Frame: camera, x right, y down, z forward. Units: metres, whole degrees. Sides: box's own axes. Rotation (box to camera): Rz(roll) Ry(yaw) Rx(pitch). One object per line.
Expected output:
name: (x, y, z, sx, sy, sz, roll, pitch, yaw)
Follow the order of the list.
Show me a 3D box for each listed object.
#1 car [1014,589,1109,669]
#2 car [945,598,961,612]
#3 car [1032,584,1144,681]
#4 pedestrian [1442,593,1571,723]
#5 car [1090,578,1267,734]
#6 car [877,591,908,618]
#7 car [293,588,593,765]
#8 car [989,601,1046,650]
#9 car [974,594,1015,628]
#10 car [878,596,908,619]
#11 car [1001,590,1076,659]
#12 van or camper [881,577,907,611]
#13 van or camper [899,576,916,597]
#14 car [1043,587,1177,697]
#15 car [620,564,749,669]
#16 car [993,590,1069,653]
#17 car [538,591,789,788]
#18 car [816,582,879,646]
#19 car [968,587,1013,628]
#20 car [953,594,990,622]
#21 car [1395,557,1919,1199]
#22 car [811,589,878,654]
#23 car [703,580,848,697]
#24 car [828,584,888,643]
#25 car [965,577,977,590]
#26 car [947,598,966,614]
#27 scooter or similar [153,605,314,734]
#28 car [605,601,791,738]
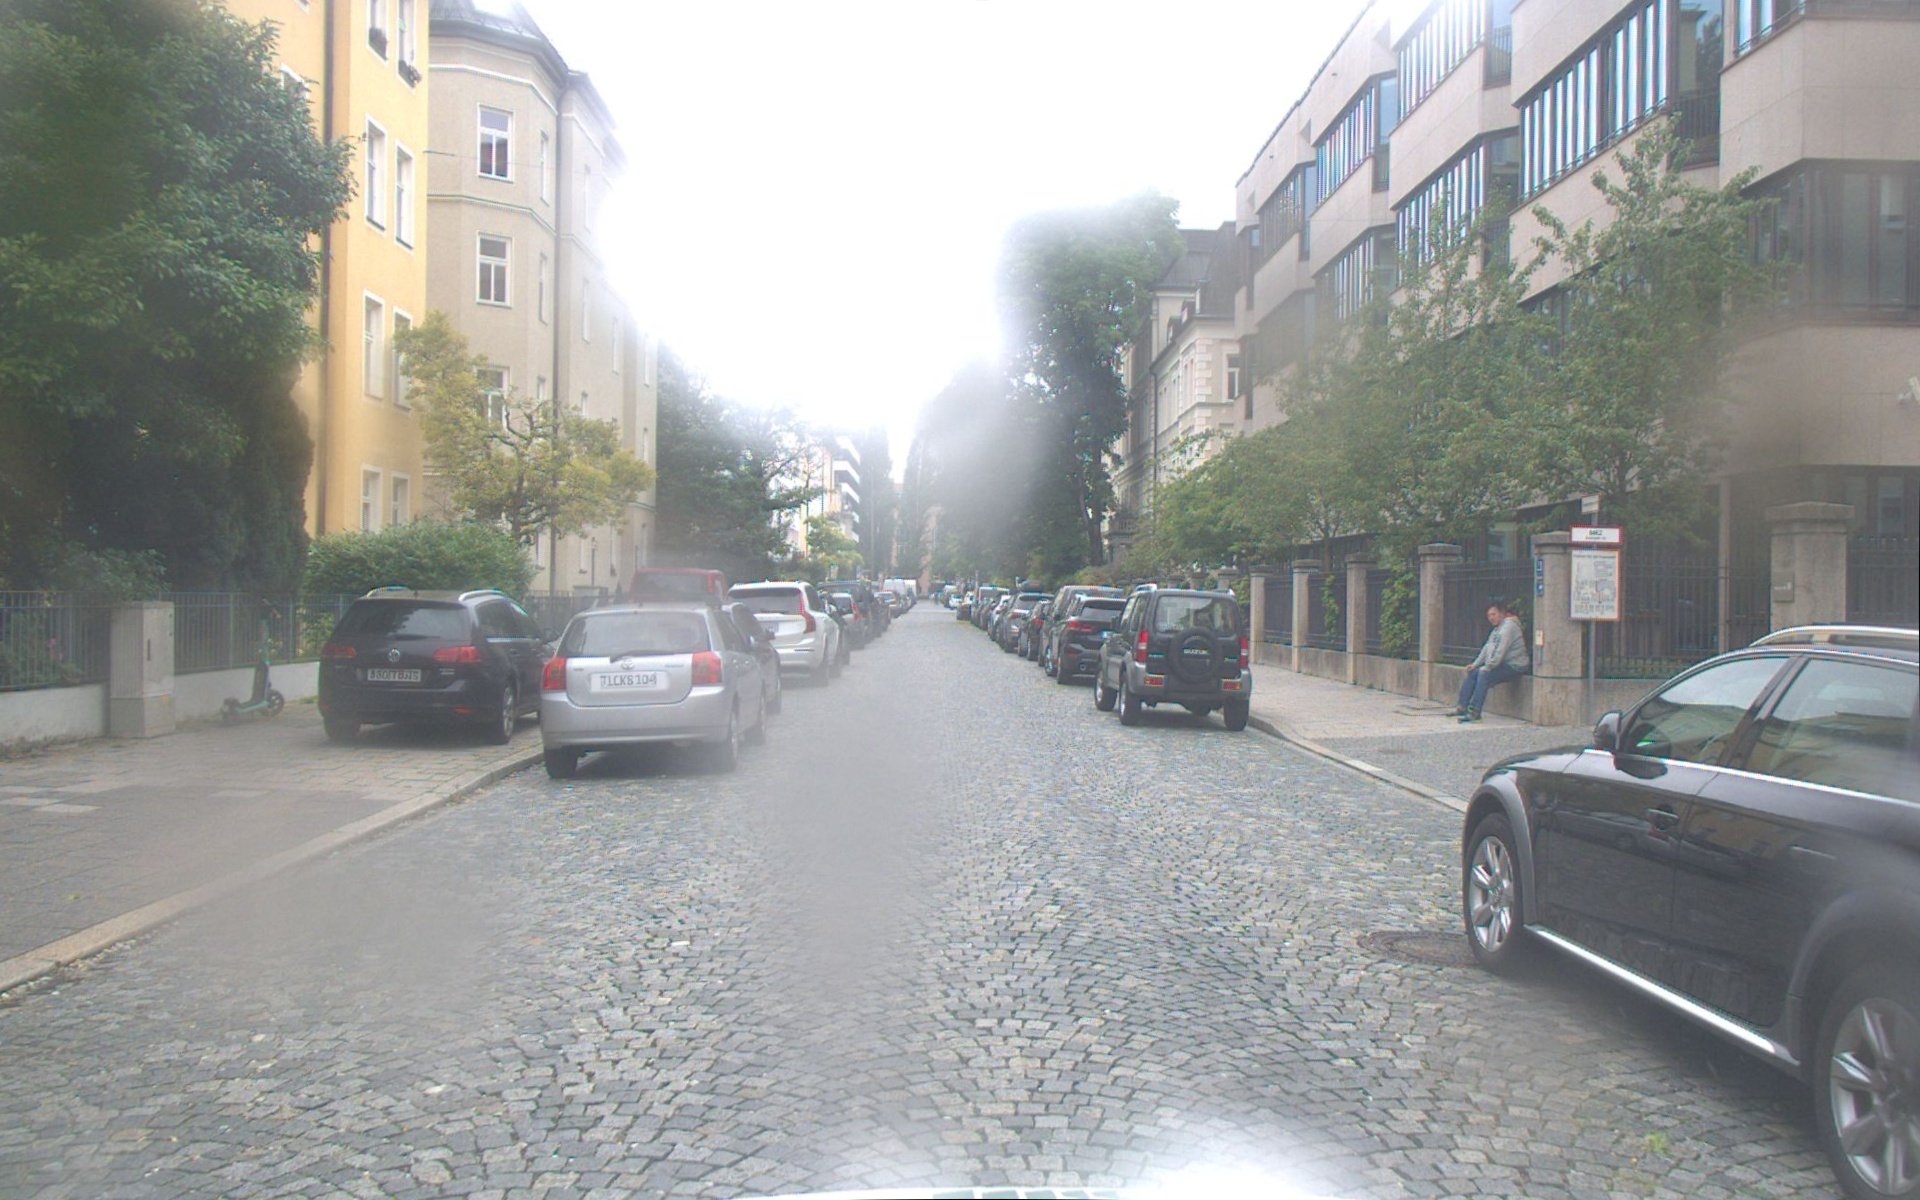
car: (2.493, 0.691, 41.632, 1.836, 1.765, 4.657, 4, 0, -2)
car: (-0.784, 0.536, 179.521, 1.753, 1.547, 3.999, 1, 0, -1)
car: (2.678, 0.662, 35.666, 1.753, 1.827, 4.507, 4, 0, -3)
pedestrian: (6.710, 0.692, 20.380, 1.192, 1.519, 1.129, -2, 0, 1)
car: (2.770, 0.665, 21.746, 1.586, 1.781, 3.885, 3, 0, -2)
car: (-4.293, 0.264, 104.948, 1.836, 1.607, 4.253, -2, 0, -3)
car: (-5.196, 0.694, 17.326, 1.680, 1.523, 4.720, 3, 0, -1)
car: (1.961, 0.853, 57.630, 1.835, 1.516, 4.617, 3, 0, 1)
car: (1.620, 0.507, 79.507, 1.800, 1.516, 4.421, 3, 0, 0)
car: (-4.935, 0.562, 122.839, 1.834, 1.607, 4.209, 3, 0, 2)
car: (2.152, 0.667, 46.655, 1.835, 1.765, 4.891, 3, 0, 0)
van or camper: (-5.459, -0.484, 137.802, 1.953, 2.698, 3.999, -2, 0, -1)
van or camper: (-7.023, -1.830, 222.348, 2.210, 2.790, 5.097, 1, 0, -1)
car: (2.645, 0.704, 30.224, 1.823, 1.731, 4.812, 4, 0, -1)
car: (-5.675, 0.323, 34.743, 1.954, 1.965, 5.328, 2, 0, -2)
car: (2.211, 0.651, 52.502, 1.836, 1.765, 4.744, 4, 0, -3)
car: (-2.680, 0.736, 15.888, 1.679, 1.589, 4.389, -1, 0, -1)
car: (-3.623, 0.437, 53.825, 1.835, 1.950, 4.825, -2, 0, -2)
car: (1.545, 0.360, 85.210, 1.836, 1.962, 5.161, 3, 0, -3)
car: (0.654, 0.452, 97.171, 1.836, 1.529, 4.508, 3, 0, -3)
car: (3.186, 0.736, 5.581, 1.953, 1.579, 5.013, 3, 0, -1)
car: (-3.397, 0.597, 48.771, 1.828, 1.765, 4.400, -2, 0, -4)
car: (-3.153, 0.621, 29.247, 1.965, 1.840, 5.174, -1, 0, 0)
car: (-3.678, 0.476, 60.258, 1.953, 1.950, 5.175, -3, 0, -2)
car: (1.733, -2.577, 262.043, 1.953, 2.049, 3.999, 1, 0, -1)
car: (-0.341, 0.579, 158.809, 1.753, 1.547, 3.999, 1, 0, -1)
scooter or similar: (-7.455, 0.686, 17.058, 0.937, 1.221, 1.522, 3, 0, -1)
car: (-3.085, 0.766, 20.194, 1.695, 1.443, 3.935, -2, 0, -1)
